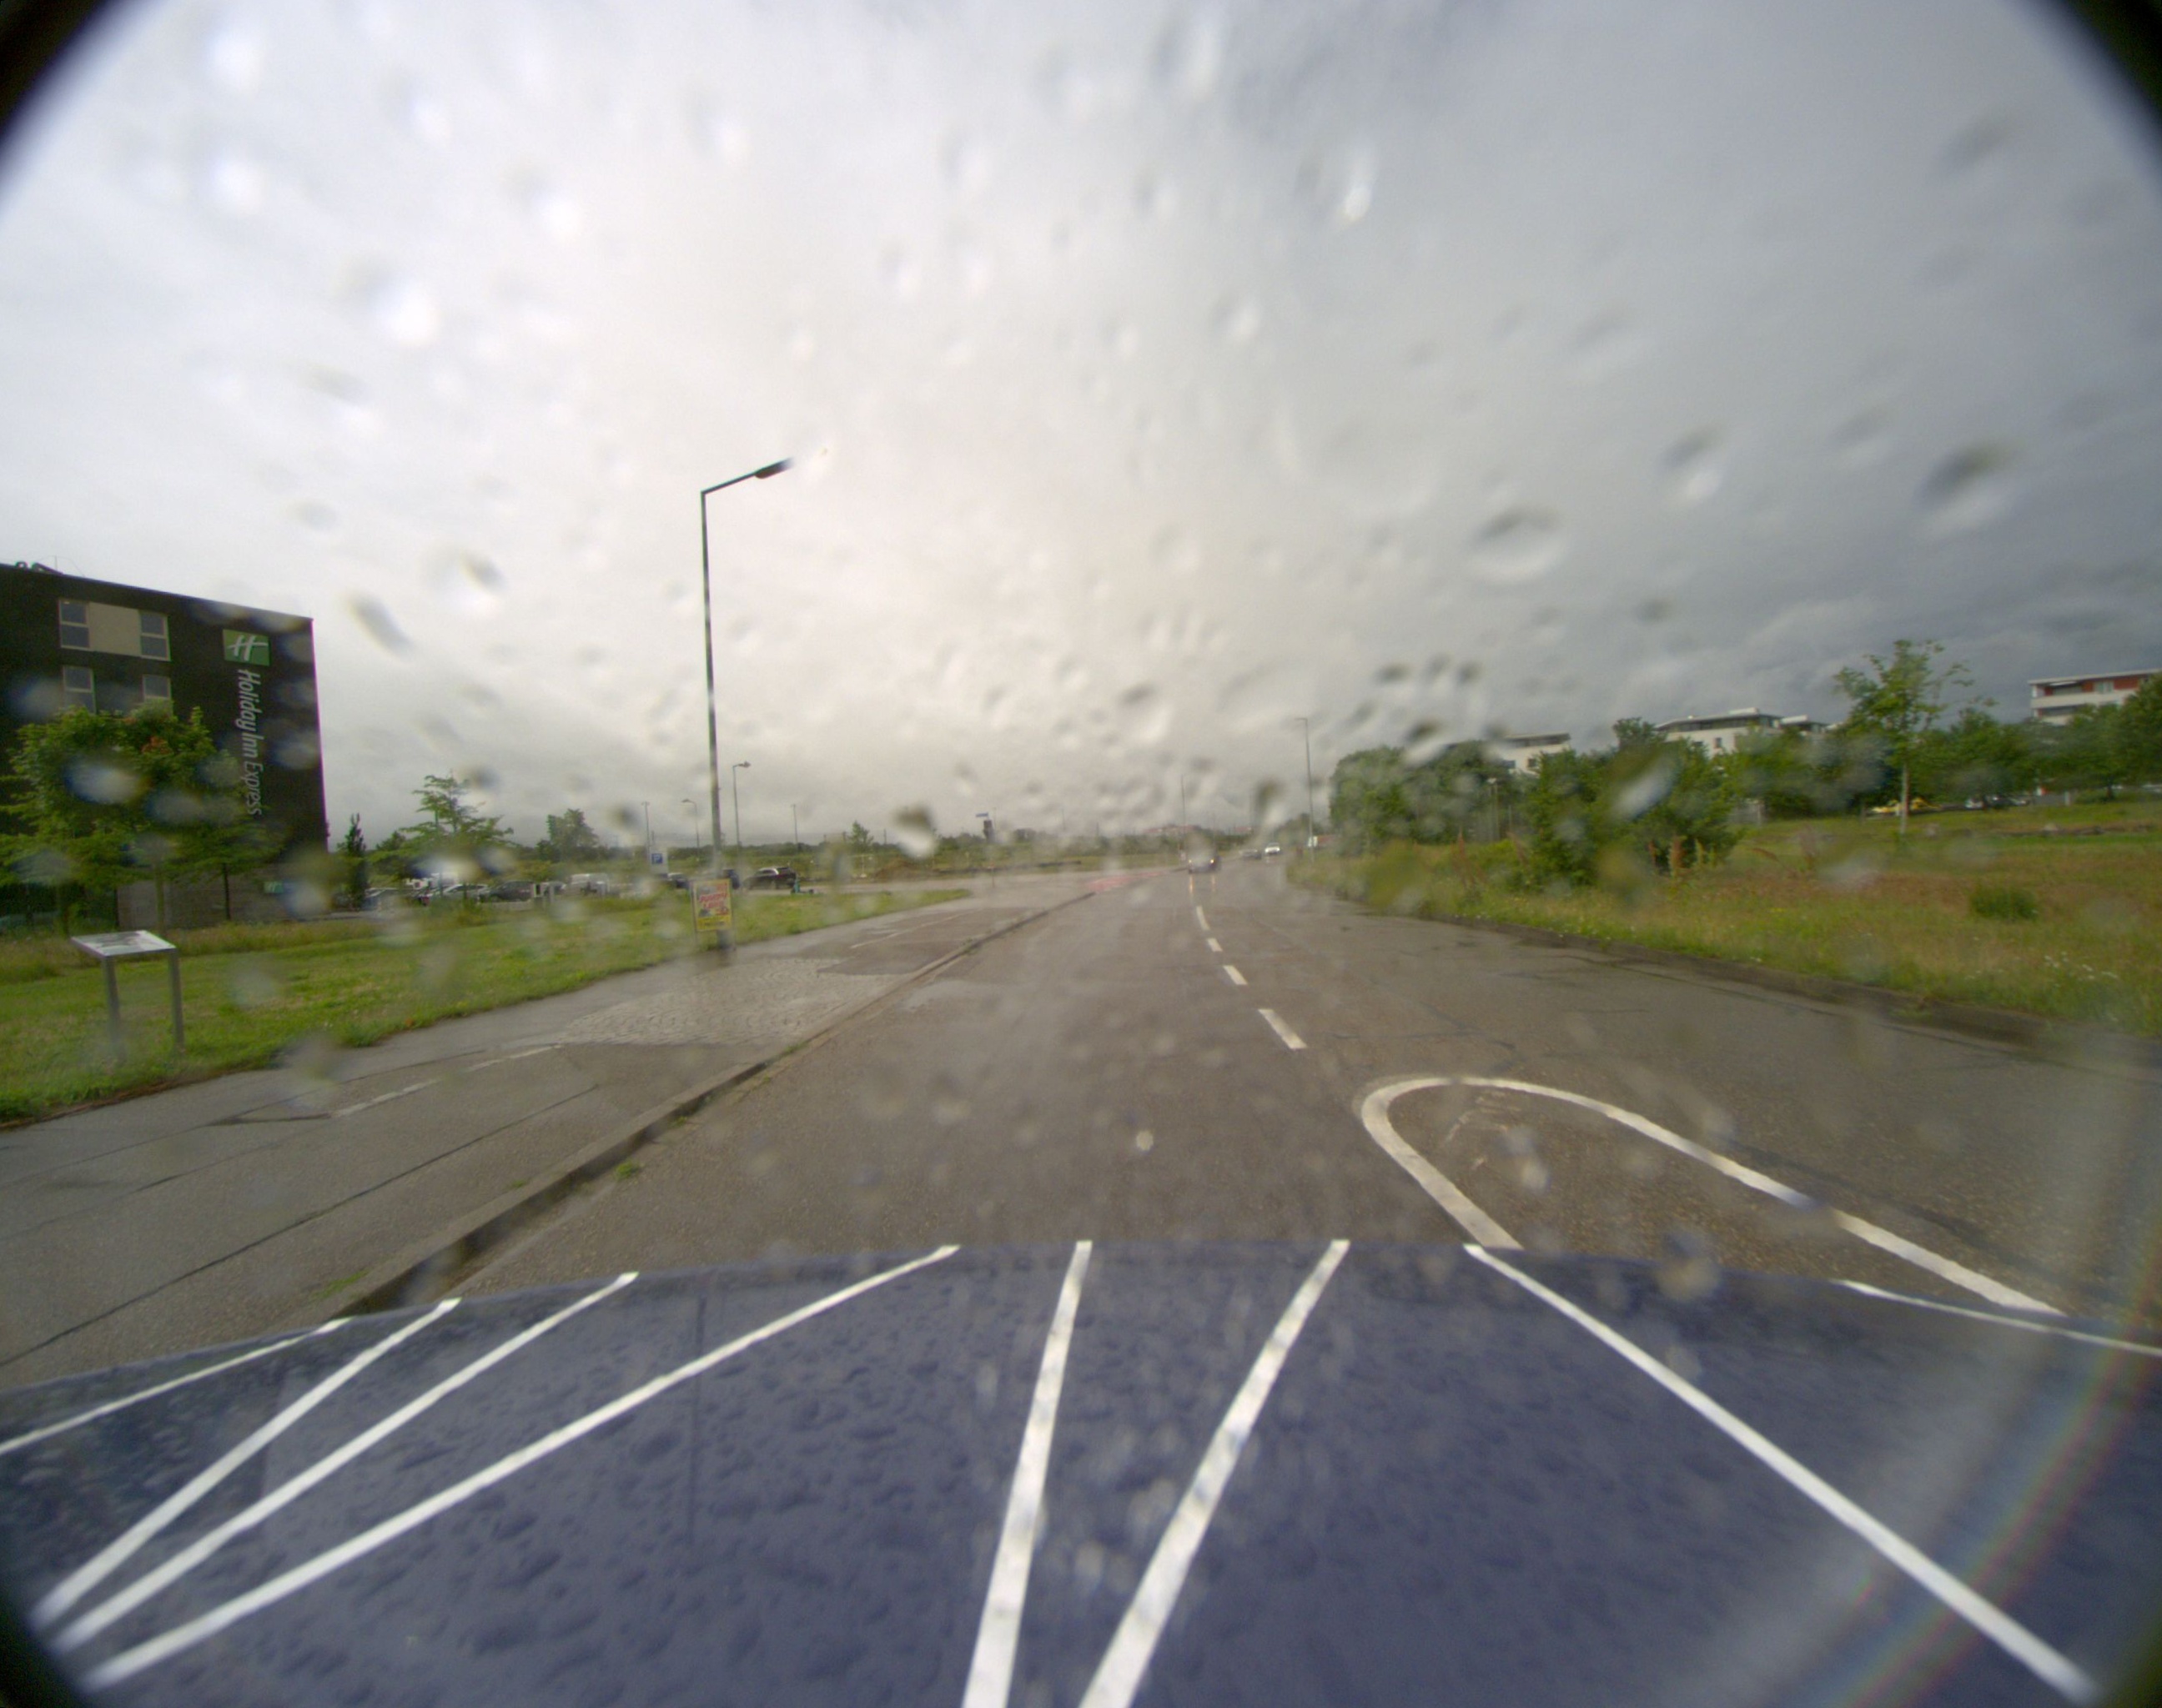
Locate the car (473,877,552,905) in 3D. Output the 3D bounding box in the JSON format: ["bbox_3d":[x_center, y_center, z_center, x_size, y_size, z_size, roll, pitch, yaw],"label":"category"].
[{"bbox_3d":[-38.861,2.523,52.029,1.782,1.518,3.848,-6,-1,28],"label":"car"}]

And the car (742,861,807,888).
[{"bbox_3d":[-22.021,1.473,54.565,3.990,1.609,2.002,-3,3,25],"label":"car"}]

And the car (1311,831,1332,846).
[{"bbox_3d":[44.807,-2.927,141.564,2.093,2.459,5.958,-1,2,35],"label":"car"}]

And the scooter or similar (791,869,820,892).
[{"bbox_3d":[-14.343,1.374,39.556,1.283,1.180,0.503,-2,-1,-1],"label":"scooter or similar"}]

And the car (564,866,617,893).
[{"bbox_3d":[-42.596,2.216,66.012,4.329,1.761,2.003,-9,-2,30],"label":"car"}]

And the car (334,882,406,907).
[{"bbox_3d":[-58.485,3.324,62.534,1.782,1.605,3.848,-6,-1,28],"label":"car"}]

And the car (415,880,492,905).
[{"bbox_3d":[-45.555,2.771,55.234,1.764,1.387,3.814,-6,-1,28],"label":"car"}]

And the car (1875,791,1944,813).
[{"bbox_3d":[122.839,-7.709,112.784,6.627,2.599,1.969,-5,1,23],"label":"car"}]

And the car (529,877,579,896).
[{"bbox_3d":[-47.231,2.942,68.108,3.990,1.406,2.003,-4,0,29],"label":"car"}]

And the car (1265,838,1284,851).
[{"bbox_3d":[25.050,-1.228,98.290,1.839,1.510,4.363,-3,0,20],"label":"car"}]

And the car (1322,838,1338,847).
[{"bbox_3d":[44.515,-2.080,135.966,1.838,1.510,4.364,-3,1,29],"label":"car"}]

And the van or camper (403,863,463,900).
[{"bbox_3d":[-69.188,2.958,81.072,6.785,3.182,2.534,-6,-1,30],"label":"van or camper"}]

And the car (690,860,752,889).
[{"bbox_3d":[-27.217,1.535,57.431,3.992,1.717,2.003,-6,-1,25],"label":"car"}]

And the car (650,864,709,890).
[{"bbox_3d":[-31.449,1.793,59.490,3.992,1.631,2.003,-6,-1,25],"label":"car"}]

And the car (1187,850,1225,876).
[{"bbox_3d":[8.365,0.589,50.541,1.871,1.510,4.362,-2,1,17],"label":"car"}]

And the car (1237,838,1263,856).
[{"bbox_3d":[17.116,-0.726,76.851,2.007,1.695,4.334,-3,1,20],"label":"car"}]

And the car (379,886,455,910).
[{"bbox_3d":[-50.012,3.314,57.315,1.782,1.387,3.848,-6,-1,28],"label":"car"}]

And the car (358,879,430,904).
[{"bbox_3d":[-55.371,2.978,61.321,1.782,1.605,3.848,-6,-1,28],"label":"car"}]

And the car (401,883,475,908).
[{"bbox_3d":[-47.583,3.030,56.311,1.640,1.388,3.787,-5,0,29],"label":"car"}]
